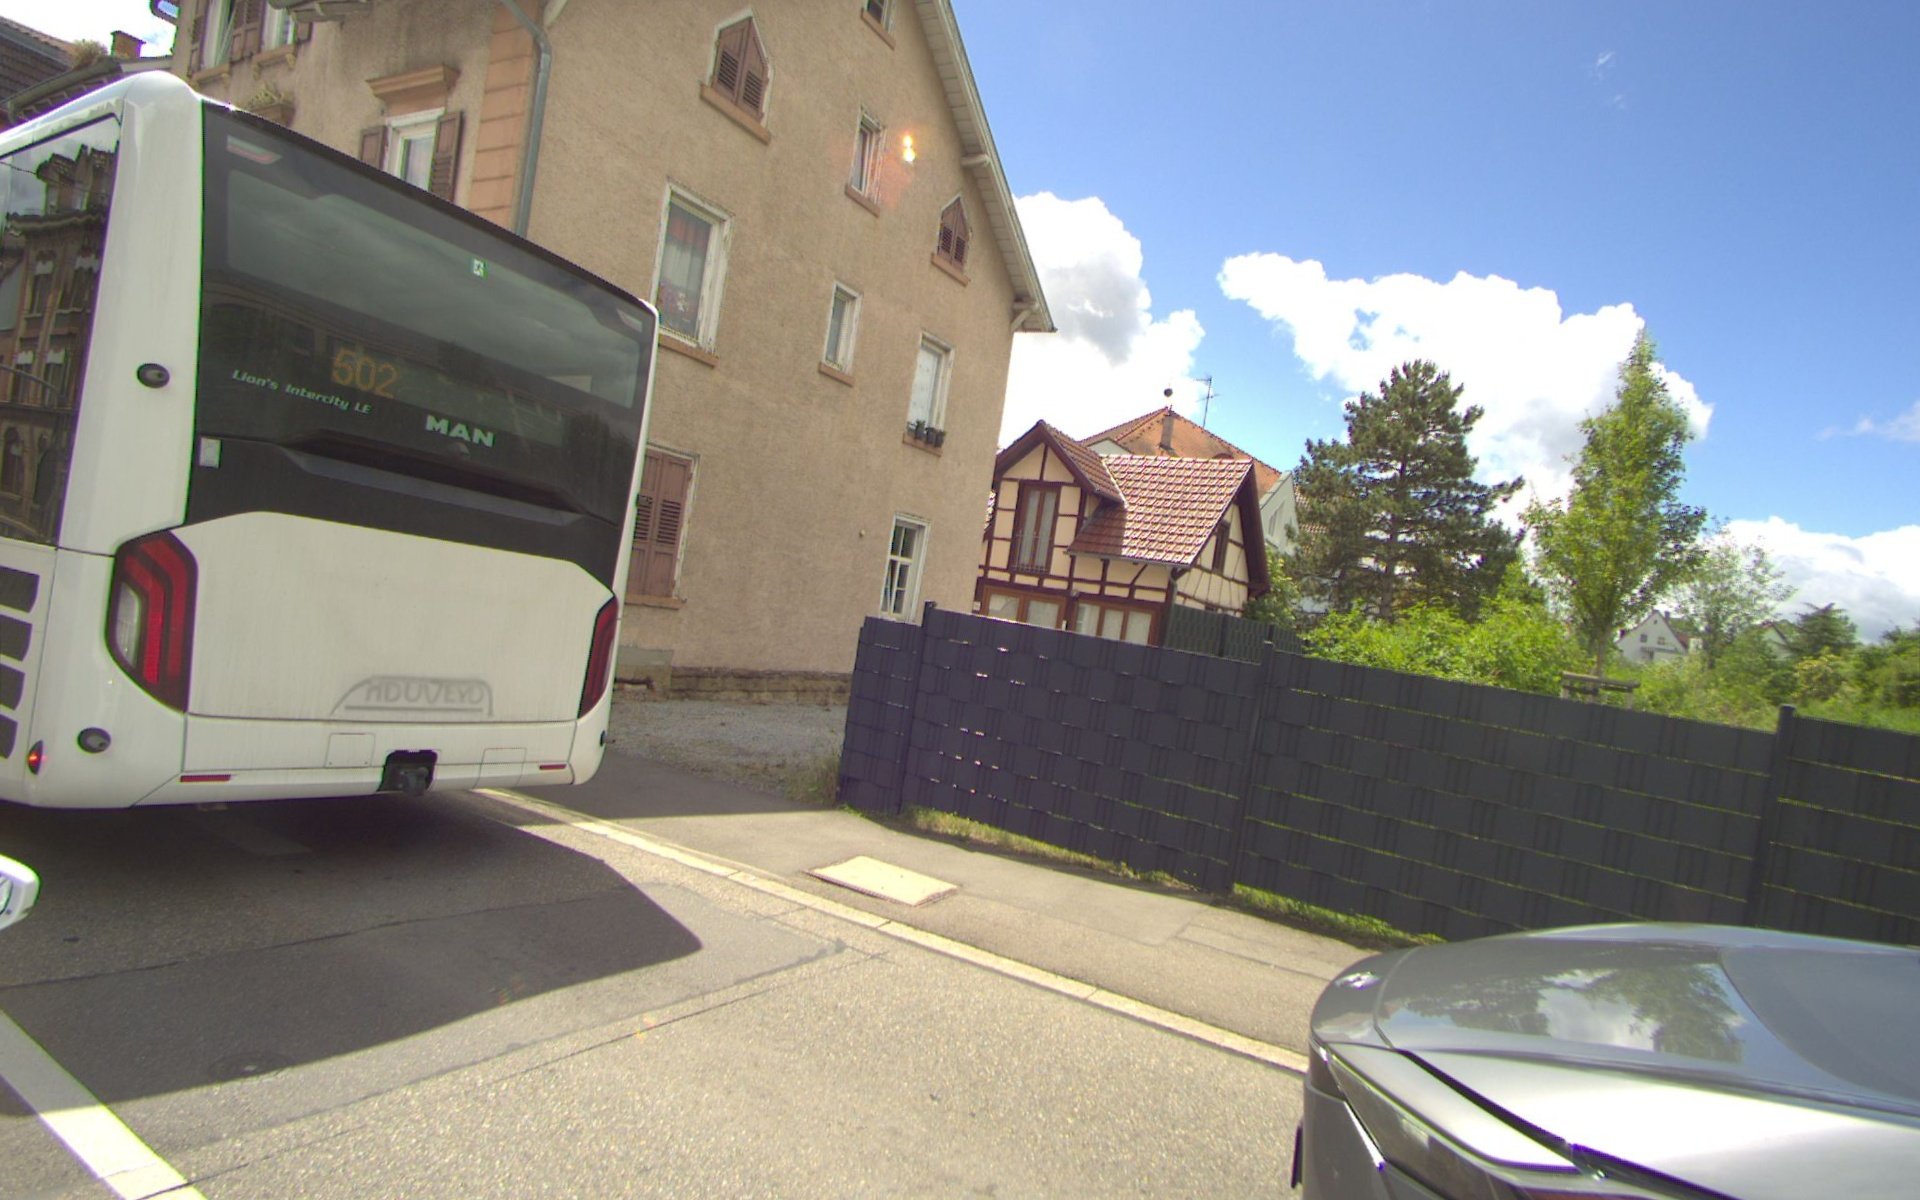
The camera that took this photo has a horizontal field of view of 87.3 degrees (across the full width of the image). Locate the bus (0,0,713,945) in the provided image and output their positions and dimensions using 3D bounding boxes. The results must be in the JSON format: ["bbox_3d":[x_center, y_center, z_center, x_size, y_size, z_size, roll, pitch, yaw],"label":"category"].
[{"bbox_3d":[-7.405,-0.930,7.702,12.255,3.194,2.676,7,0,32],"label":"bus"}]

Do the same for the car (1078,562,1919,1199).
[{"bbox_3d":[2.631,1.103,1.144,4.605,1.631,1.924,7,-2,32],"label":"car"}]
